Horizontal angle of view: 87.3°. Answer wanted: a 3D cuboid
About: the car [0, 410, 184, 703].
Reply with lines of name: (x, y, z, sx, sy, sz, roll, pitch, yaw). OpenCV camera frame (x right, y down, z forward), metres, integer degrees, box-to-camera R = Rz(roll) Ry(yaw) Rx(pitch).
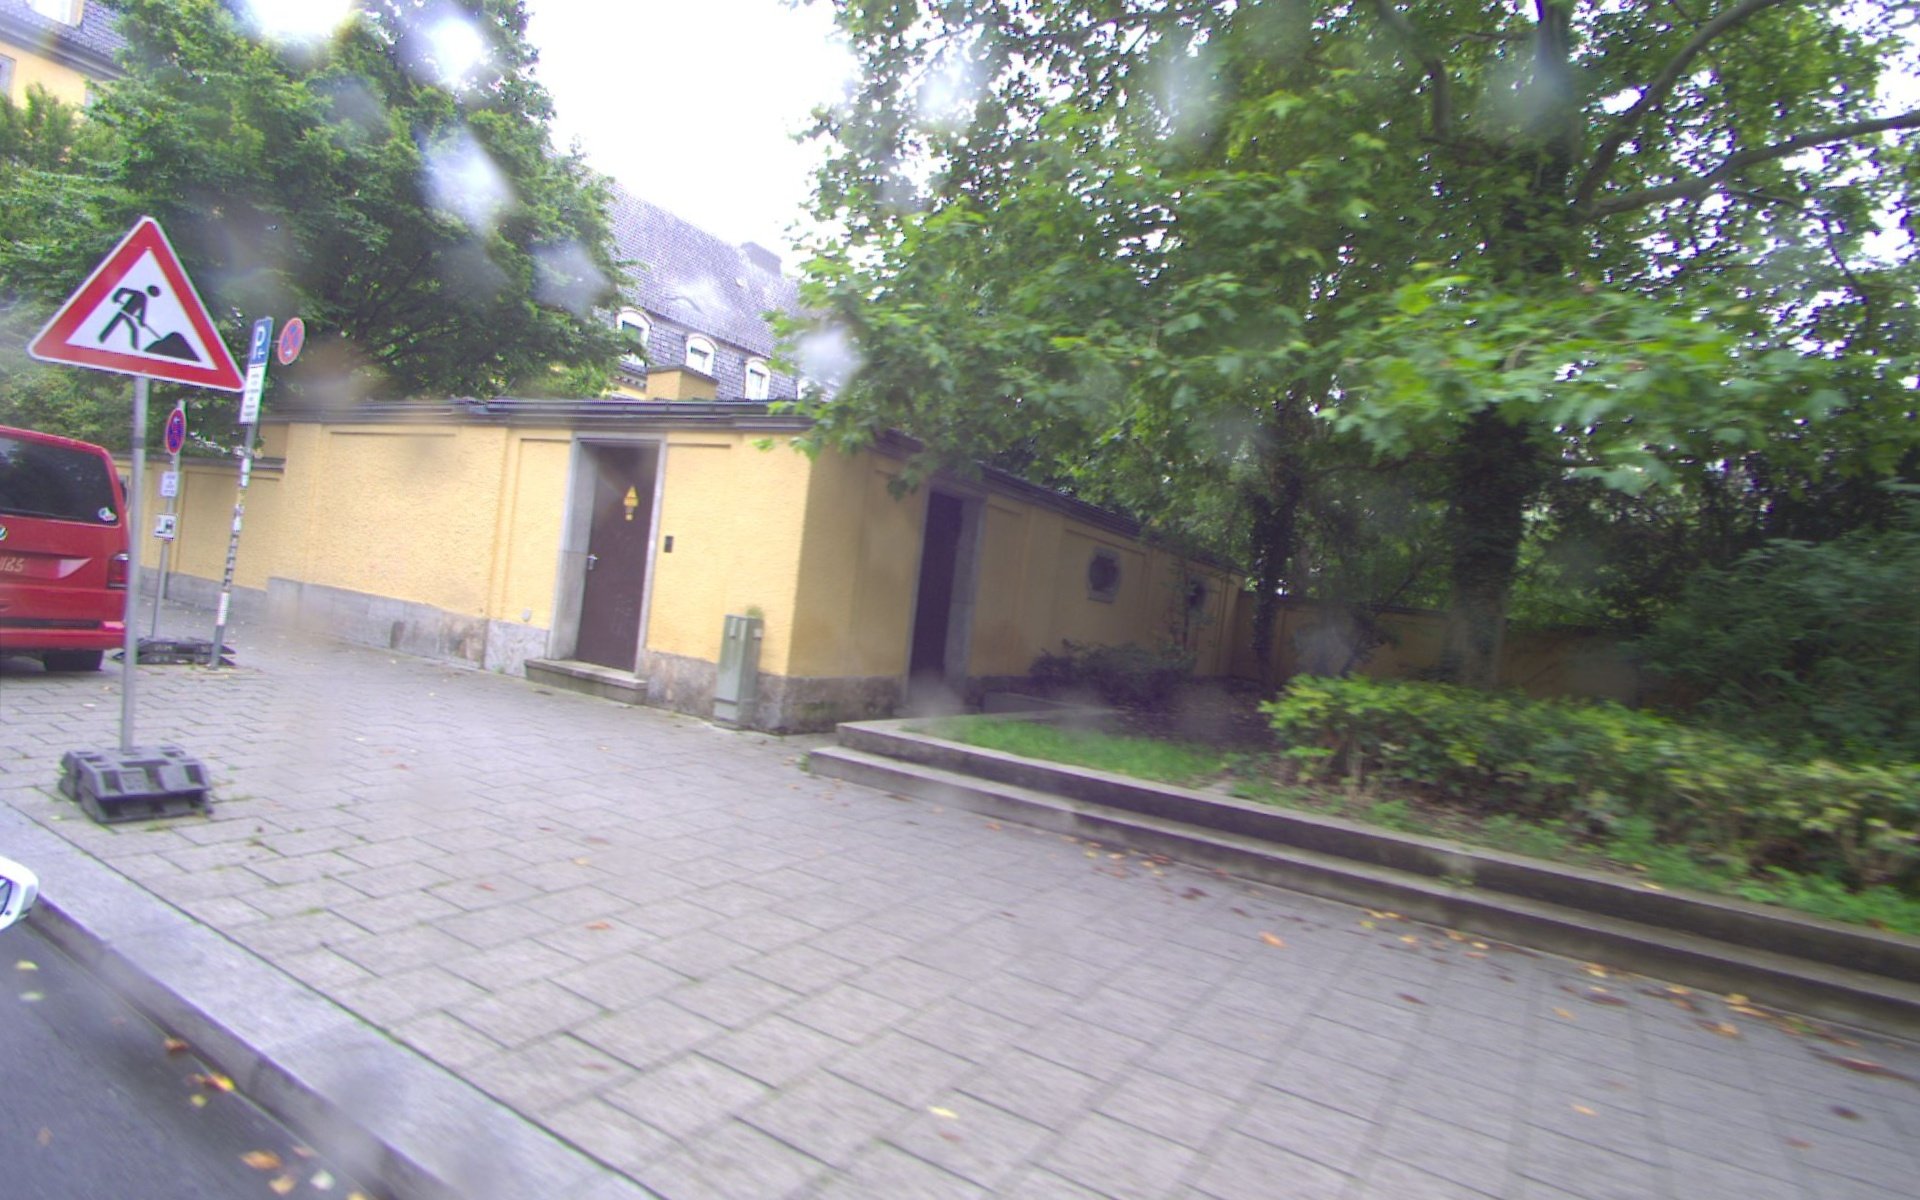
car: (-8.806, -0.499, 8.299, 5.354, 1.992, 1.861, 5, 0, 31)
